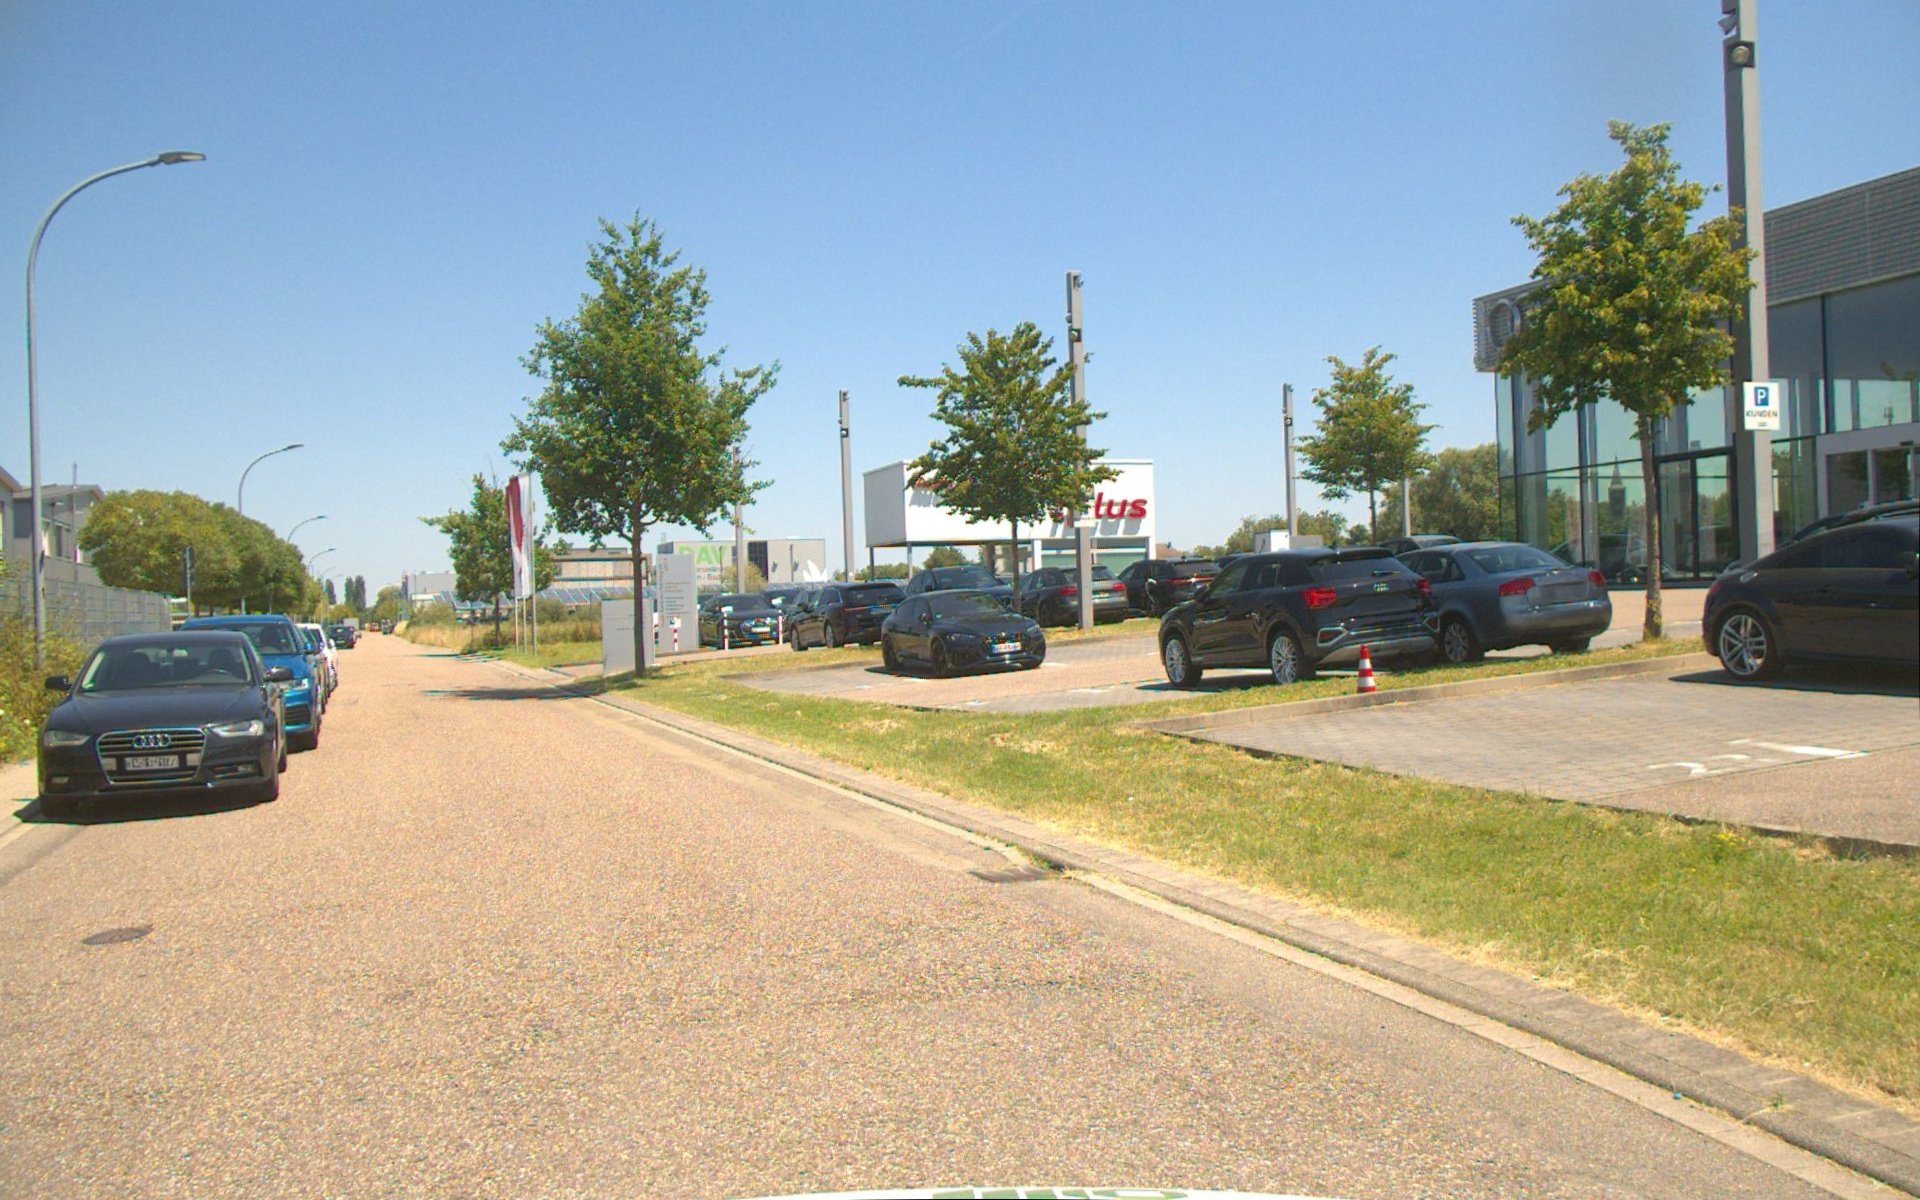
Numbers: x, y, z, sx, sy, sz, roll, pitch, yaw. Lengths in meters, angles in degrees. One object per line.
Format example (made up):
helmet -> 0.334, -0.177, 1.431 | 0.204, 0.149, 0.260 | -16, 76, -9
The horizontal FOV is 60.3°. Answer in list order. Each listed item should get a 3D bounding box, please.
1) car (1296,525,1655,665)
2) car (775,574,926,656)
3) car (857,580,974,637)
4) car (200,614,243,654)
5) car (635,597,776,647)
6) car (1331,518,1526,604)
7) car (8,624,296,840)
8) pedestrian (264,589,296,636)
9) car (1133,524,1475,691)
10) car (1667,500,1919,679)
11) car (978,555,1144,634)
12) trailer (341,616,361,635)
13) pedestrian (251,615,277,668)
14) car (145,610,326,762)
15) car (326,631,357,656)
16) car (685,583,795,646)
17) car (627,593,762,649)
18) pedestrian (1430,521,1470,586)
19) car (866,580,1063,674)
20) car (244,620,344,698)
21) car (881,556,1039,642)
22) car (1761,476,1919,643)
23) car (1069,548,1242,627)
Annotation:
car -> 6.130, -0.036, 20.214 | 1.934, 1.390, 4.200 | -5, 1, -21
car -> -2.492, 0.378, 36.336 | 1.933, 1.482, 4.955 | -3, -2, -20
car -> -1.417, 0.282, 50.123 | 1.996, 1.482, 5.047 | -5, 1, -20
car -> -39.080, 1.808, 87.587 | 1.811, 2.054, 5.091 | 1, -1, -22
car -> -8.880, 0.762, 57.625 | 4.467, 1.482, 2.017 | -3, 0, -23
car -> 11.193, -0.896, 39.937 | 1.933, 1.649, 4.955 | -3, -2, -20
car -> -6.779, 0.986, 14.311 | 1.798, 1.480, 4.551 | -2, 0, -21
pedestrian -> -29.252, 0.534, 71.171 | 0.822, 2.007, 0.965 | -1, -1, 20
car -> 3.861, 0.096, 19.367 | 1.861, 1.598, 4.200 | -5, 1, -21
car -> 8.223, -0.130, 13.636 | 1.934, 1.398, 4.284 | -4, 0, -21
car -> 2.228, -0.081, 38.119 | 1.933, 1.482, 4.955 | -3, -2, -20
trailer -> -73.779, 3.059, 200.361 | 2.169, 2.175, 4.259 | -2, -1, -20
pedestrian -> -24.529, 1.468, 58.324 | 0.733, 1.833, 1.129 | 1, -1, -18
car -> -8.809, 0.977, 20.402 | 1.798, 1.598, 4.358 | -2, 0, -21
car -> -42.141, 2.928, 112.566 | 1.900, 1.595, 4.162 | -2, 0, -21
car -> -6.396, 0.433, 47.465 | 1.996, 1.540, 5.208 | -5, 1, -20
car -> -9.659, 0.747, 60.136 | 4.467, 1.722, 2.017 | -4, 0, -23
pedestrian -> 14.108, -1.345, 47.652 | 0.758, 1.807, 0.742 | -2, -1, -16
car -> -0.036, 0.420, 29.503 | 1.933, 1.390, 4.692 | -5, 2, -20
car -> -14.432, 1.242, 35.989 | 1.797, 1.526, 4.234 | -2, 0, -20
car -> -0.095, 0.025, 37.522 | 1.933, 1.626, 4.955 | -3, -2, -20
car -> 10.216, -0.448, 15.380 | 1.934, 1.580, 4.973 | -4, 0, -21
car -> 4.471, -0.248, 38.766 | 1.933, 1.482, 4.955 | -3, -2, -20
